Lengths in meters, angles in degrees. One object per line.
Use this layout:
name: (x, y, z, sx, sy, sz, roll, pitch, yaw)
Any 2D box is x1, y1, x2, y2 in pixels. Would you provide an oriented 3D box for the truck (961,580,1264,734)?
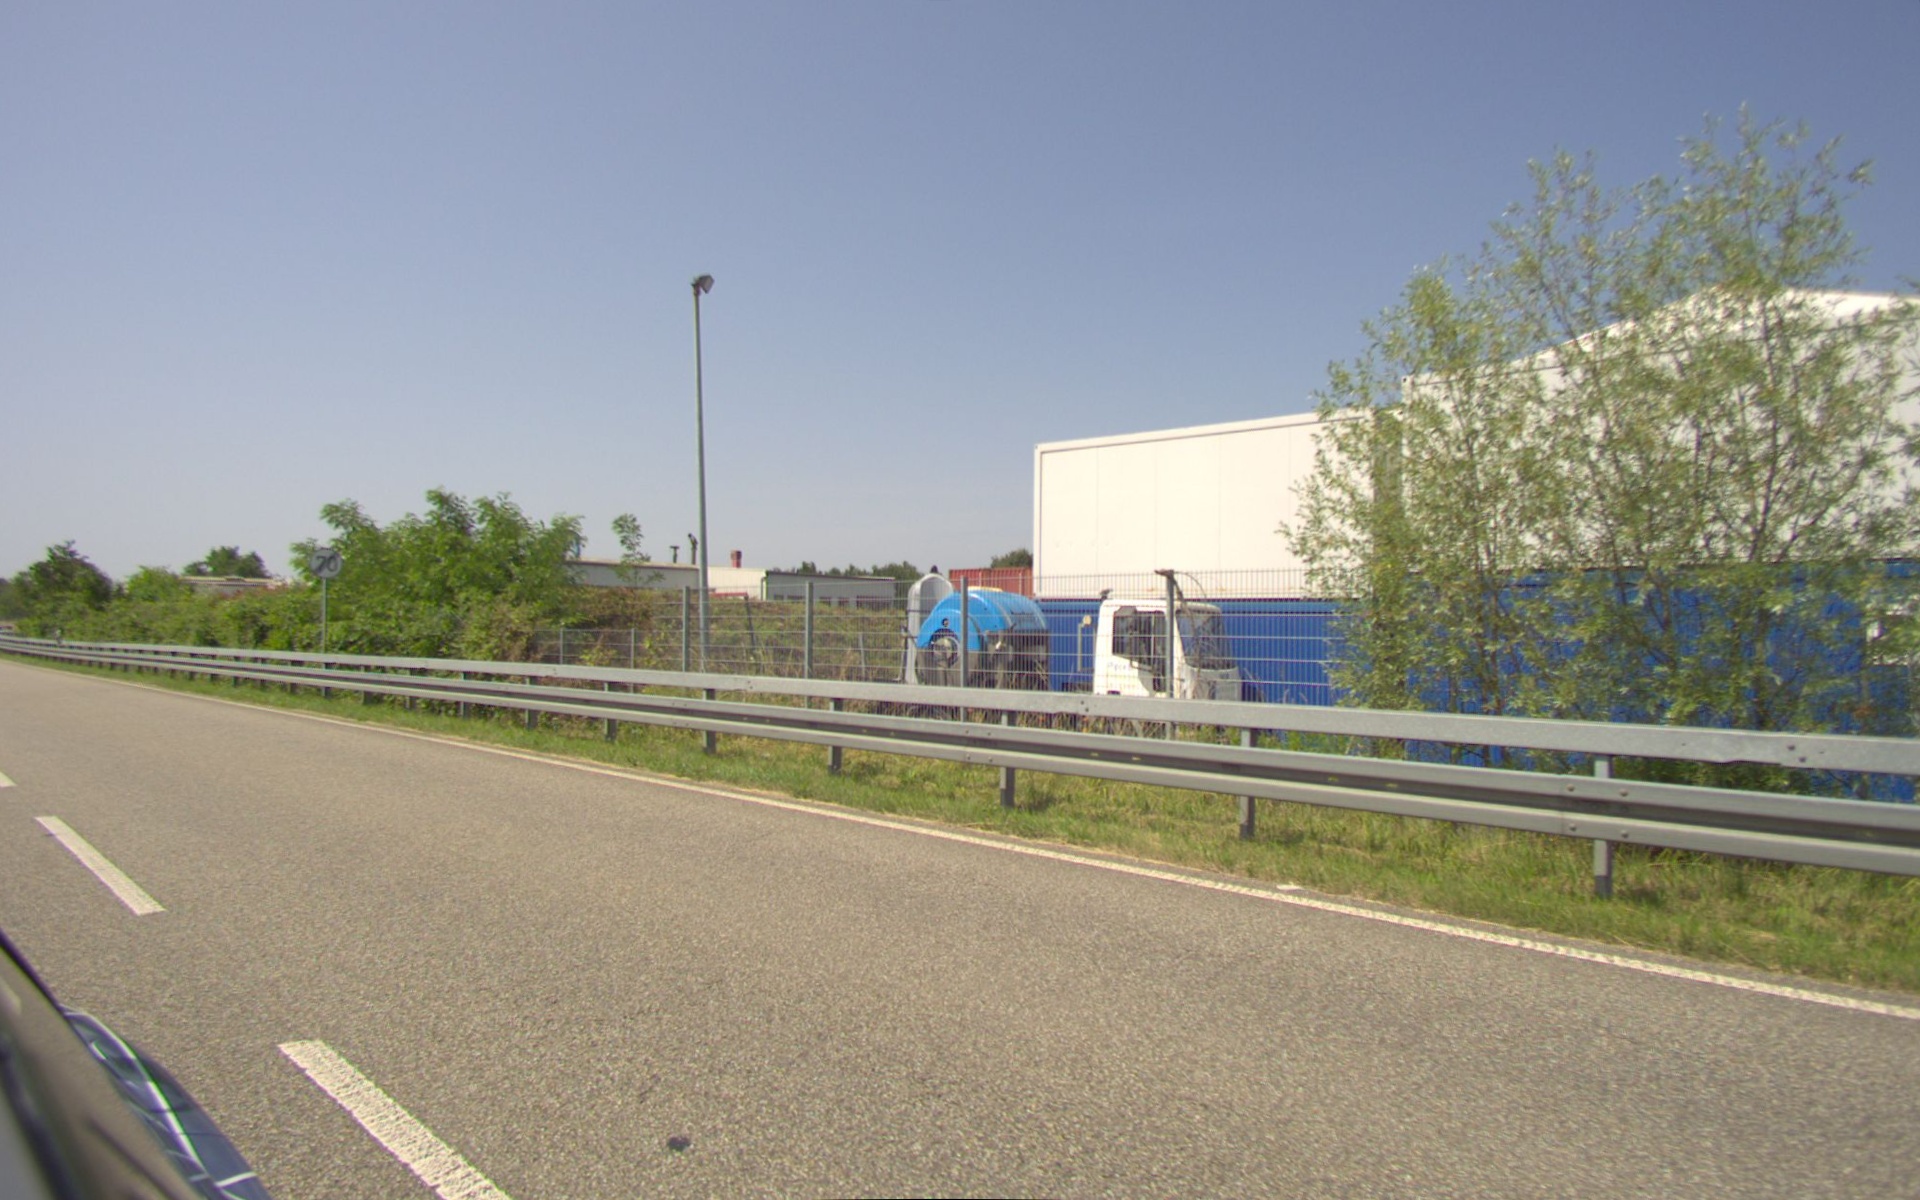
truck: (2.267, 0.785, 15.355, 3.992, 2.019, 2.182, -1, -1, 36)

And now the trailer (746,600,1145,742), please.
trailer: (-0.486, 1.086, 17.398, 6.961, 2.019, 2.182, -1, -1, 37)

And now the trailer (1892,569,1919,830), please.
trailer: (10.864, 0.900, 8.736, 3.917, 2.456, 1.975, -2, -1, 38)
